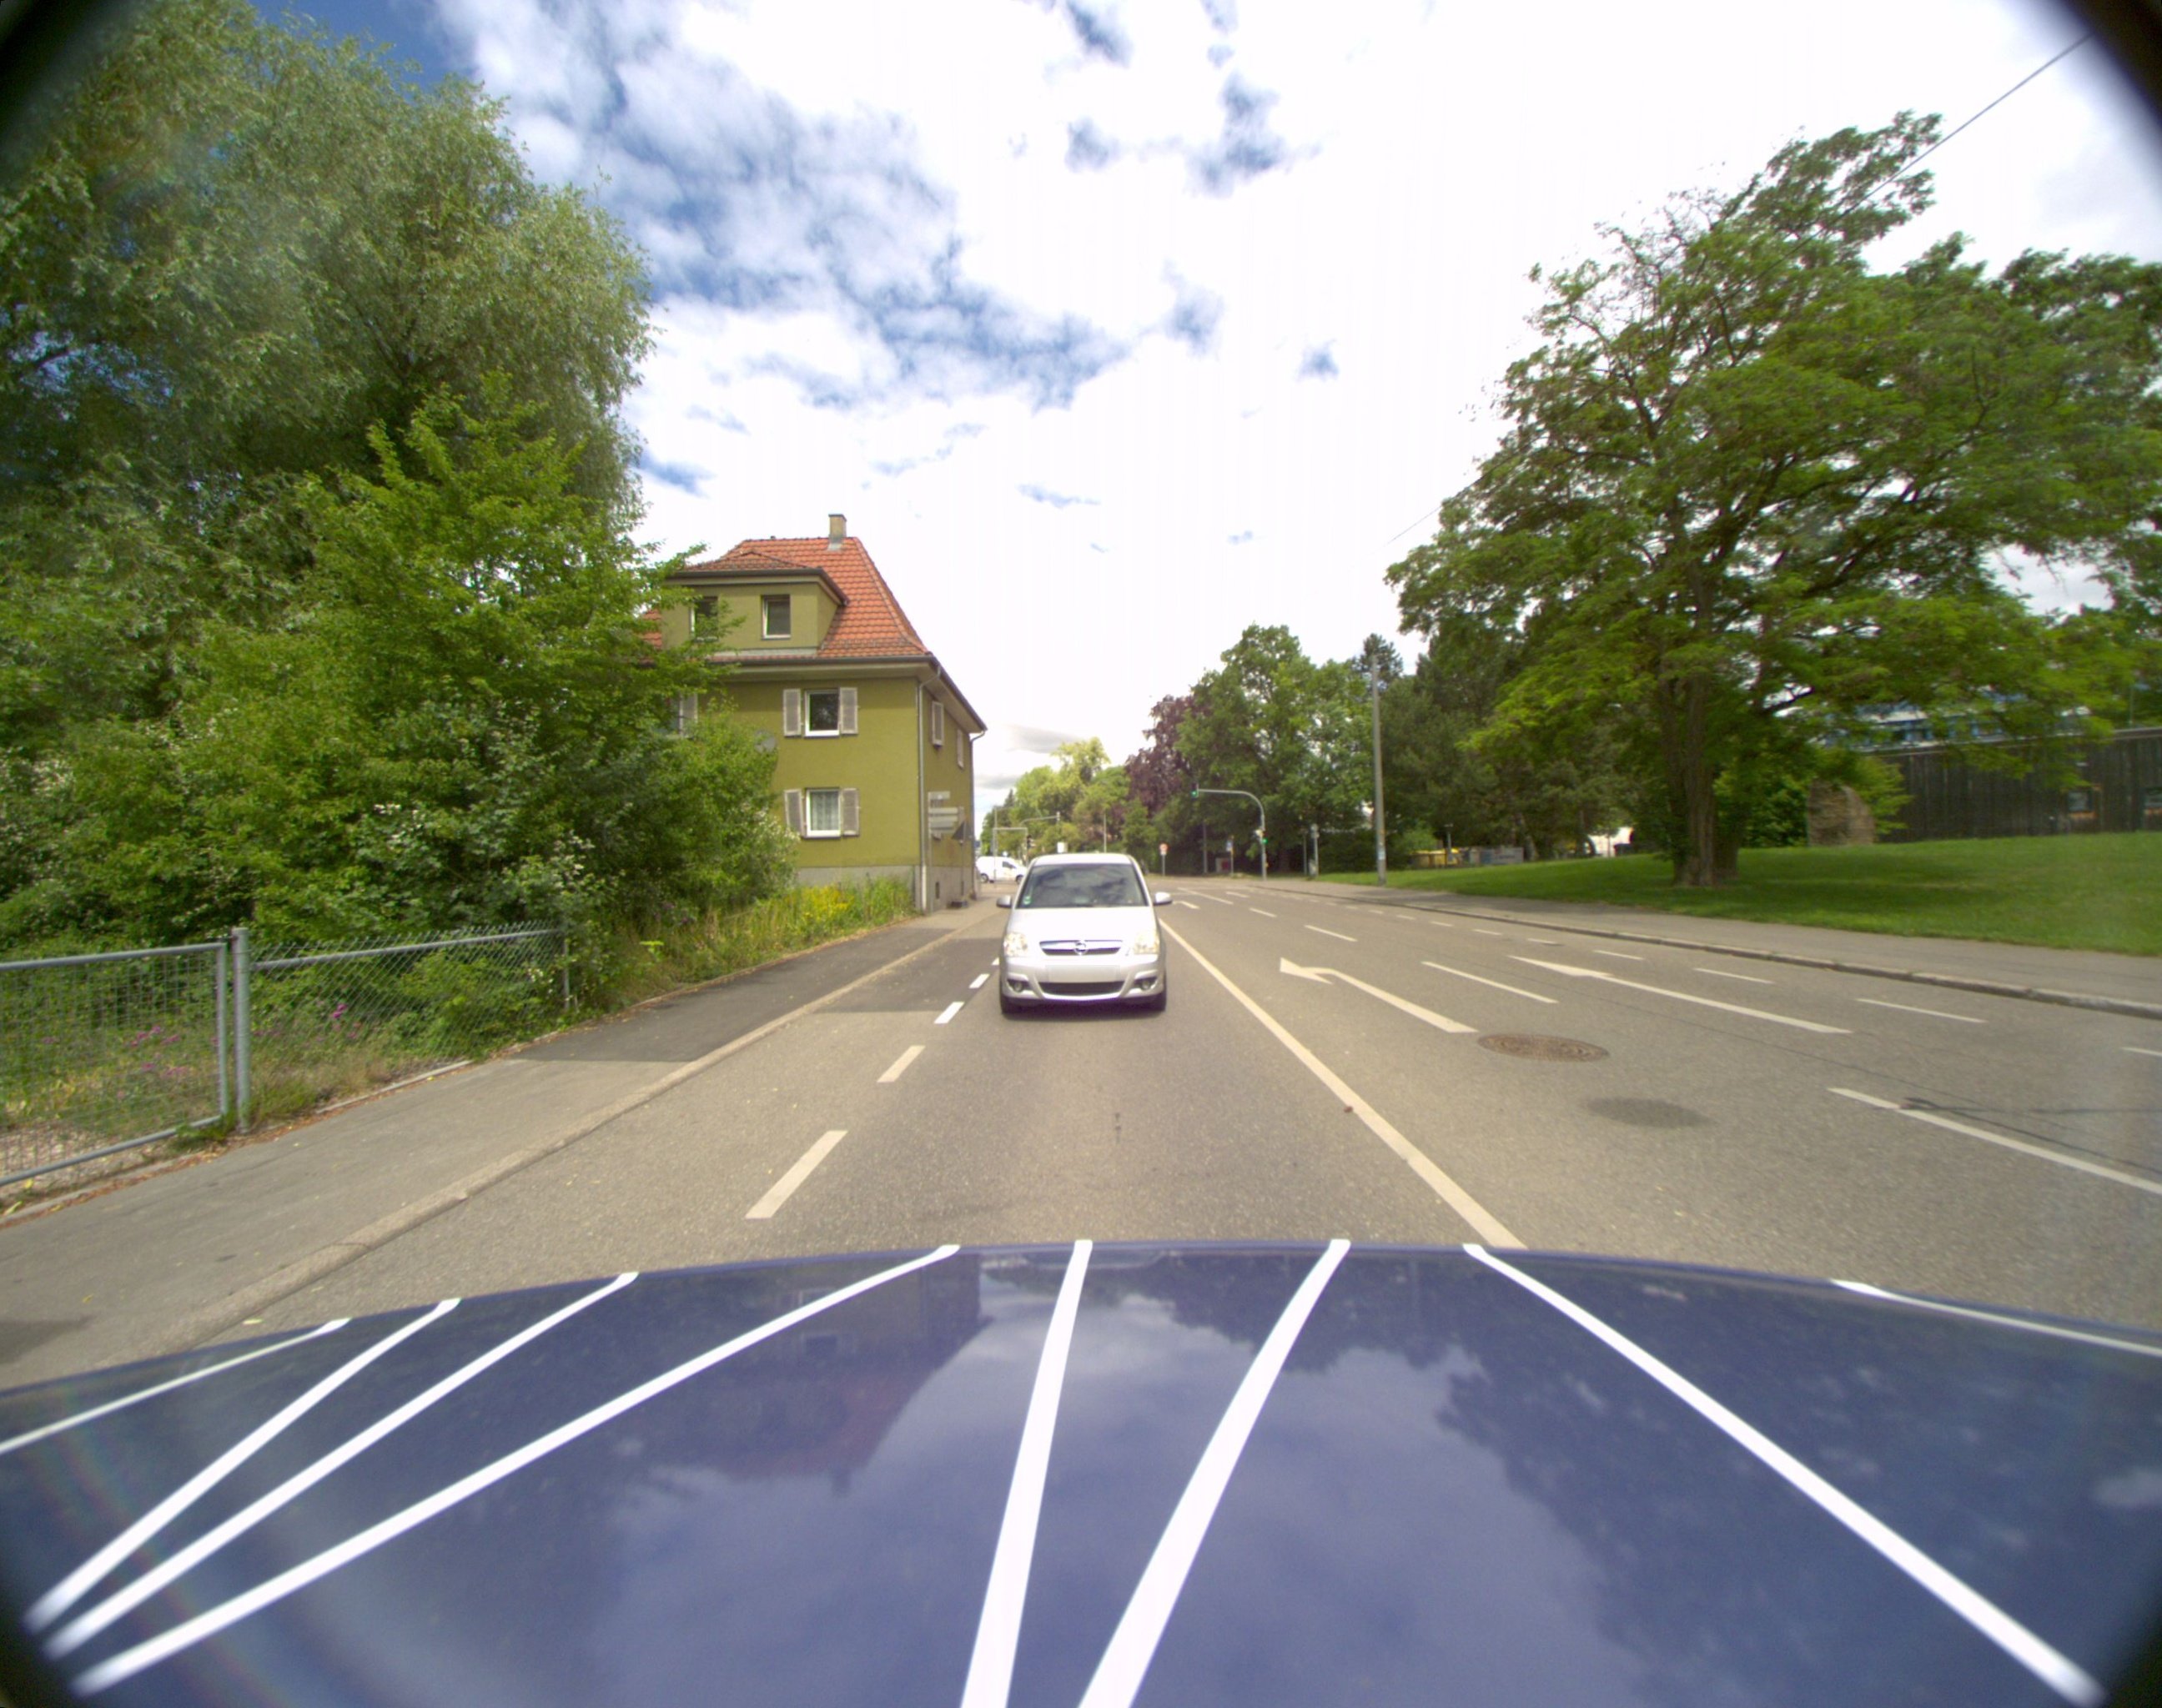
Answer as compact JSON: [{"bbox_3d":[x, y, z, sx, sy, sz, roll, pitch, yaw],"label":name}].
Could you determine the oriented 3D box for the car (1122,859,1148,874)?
[{"bbox_3d":[5.408,1.215,76.120,1.900,1.501,3.998,0,0,-6],"label":"car"}]

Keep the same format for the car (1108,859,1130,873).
[{"bbox_3d":[4.311,1.326,86.280,1.900,1.501,3.998,0,0,-6],"label":"car"}]

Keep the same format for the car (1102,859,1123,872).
[{"bbox_3d":[3.732,1.309,91.005,1.900,1.501,3.998,0,0,-6],"label":"car"}]

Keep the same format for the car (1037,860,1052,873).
[{"bbox_3d":[-4.908,1.659,102.197,1.799,1.501,4.000,-4,0,0],"label":"car"}]

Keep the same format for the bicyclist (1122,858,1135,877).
[{"bbox_3d":[4.105,1.203,65.724,0.808,1.599,0.771,-3,0,-11],"label":"bicyclist"}]

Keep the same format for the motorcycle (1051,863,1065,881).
[{"bbox_3d":[-1.401,1.103,47.024,0.837,1.101,1.800,0,0,0],"label":"motorcycle"}]

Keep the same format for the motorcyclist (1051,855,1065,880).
[{"bbox_3d":[-1.399,0.845,47.115,0.837,1.547,0.650,0,1,0],"label":"motorcyclist"}]

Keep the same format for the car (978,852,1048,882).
[{"bbox_3d":[-4.718,0.881,52.718,4.362,1.983,2.002,-1,0,16],"label":"car"}]

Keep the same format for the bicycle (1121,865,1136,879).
[{"bbox_3d":[4.114,1.538,65.782,0.814,1.101,1.798,-3,0,-11],"label":"bicycle"}]

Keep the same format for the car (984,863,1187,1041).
[{"bbox_3d":[0.098,0.892,8.688,1.780,1.519,4.000,0,0,2],"label":"car"}]
